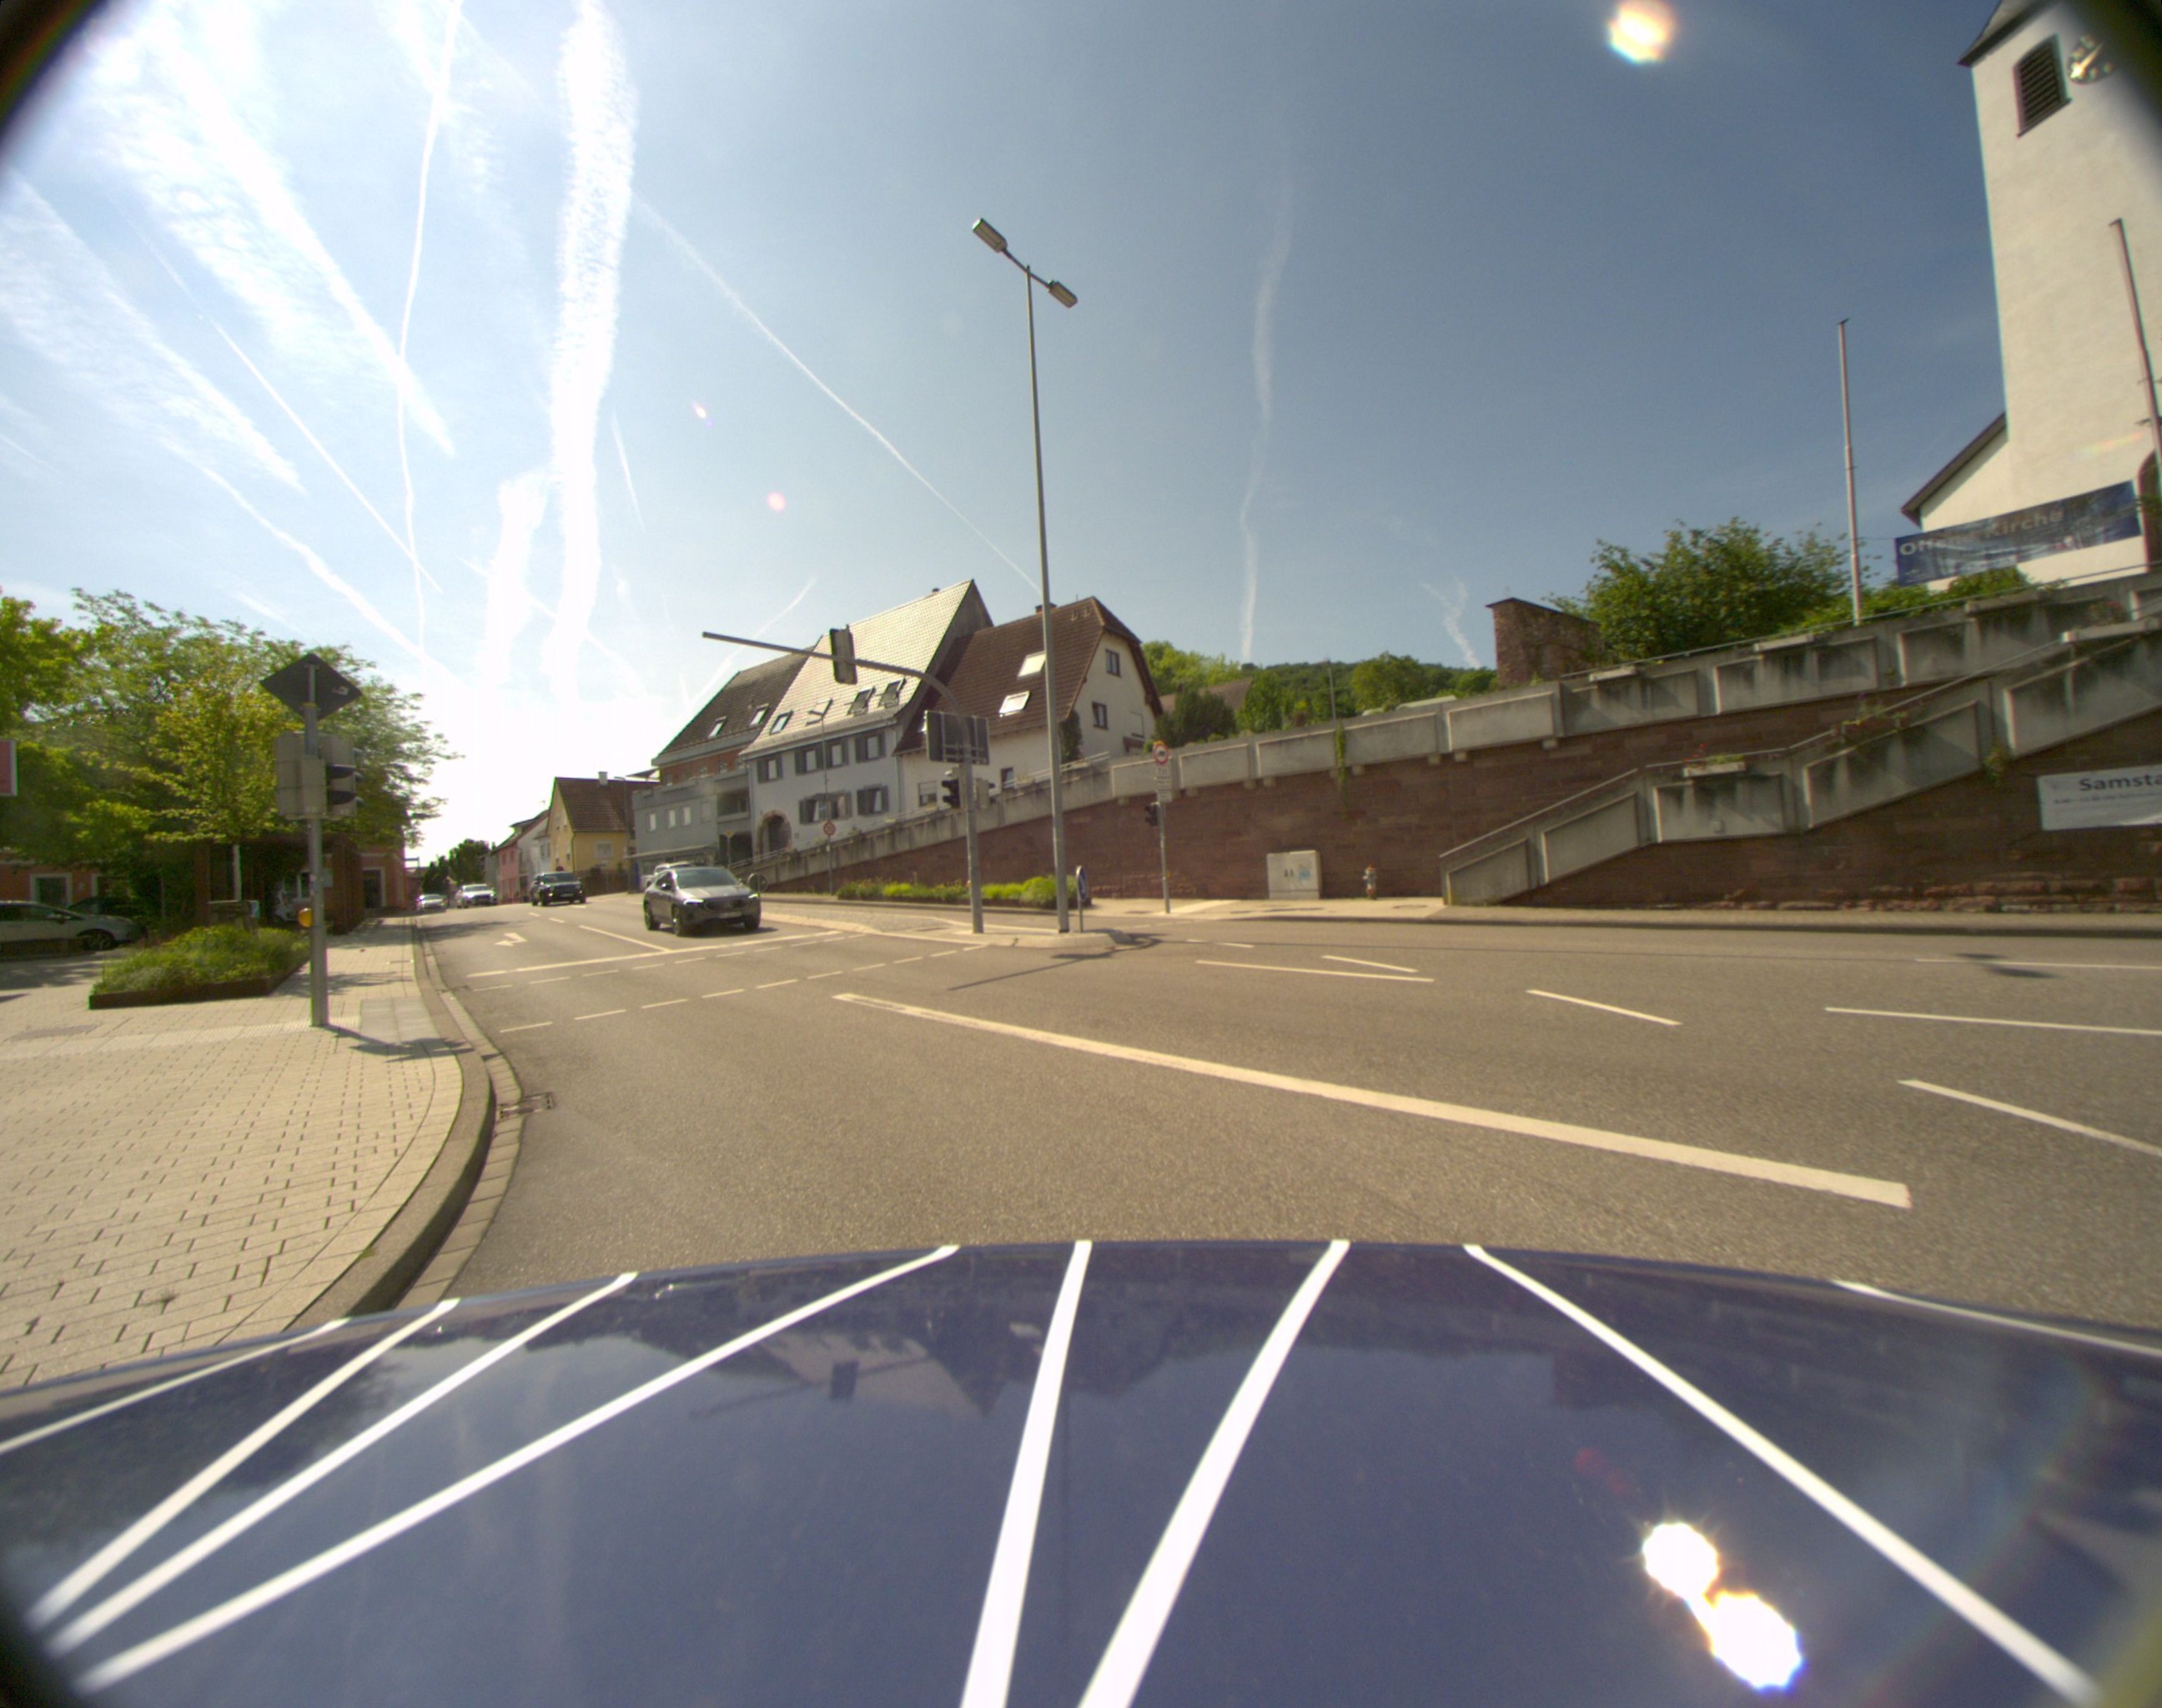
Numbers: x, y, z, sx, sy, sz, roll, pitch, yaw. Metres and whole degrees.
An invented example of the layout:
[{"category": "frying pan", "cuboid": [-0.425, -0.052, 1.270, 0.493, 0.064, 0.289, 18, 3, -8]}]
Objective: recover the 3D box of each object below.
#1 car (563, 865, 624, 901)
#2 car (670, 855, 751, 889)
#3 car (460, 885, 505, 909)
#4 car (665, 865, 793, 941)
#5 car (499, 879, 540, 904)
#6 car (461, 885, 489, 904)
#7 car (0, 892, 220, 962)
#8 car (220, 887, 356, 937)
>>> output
[{"category": "car", "cuboid": [-24.679, 1.468, 38.394, 1.797, 1.643, 4.382, -4, 1, -42]}, {"category": "car", "cuboid": [-22.224, 1.094, 45.545, 5.272, 1.788, 1.814, -3, 1, 33]}, {"category": "car", "cuboid": [-40.651, 2.926, 51.557, 3.698, 1.418, 1.791, -4, 2, 43]}, {"category": "car", "cuboid": [-8.860, 1.137, 18.938, 1.741, 1.564, 4.279, -5, 2, -40]}, {"category": "car", "cuboid": [-39.122, 2.629, 52.904, 1.784, 1.533, 4.088, -5, 1, -43]}, {"category": "car", "cuboid": [-53.881, 3.567, 67.621, 1.841, 1.533, 4.160, -3, 1, -38]}, {"category": "car", "cuboid": [-27.683, 1.998, 21.271, 4.503, 1.536, 1.720, -3, 1, -42]}, {"category": "car", "cuboid": [-38.263, 2.748, 36.843, 4.105, 1.744, 1.808, -8, 3, -35]}]
